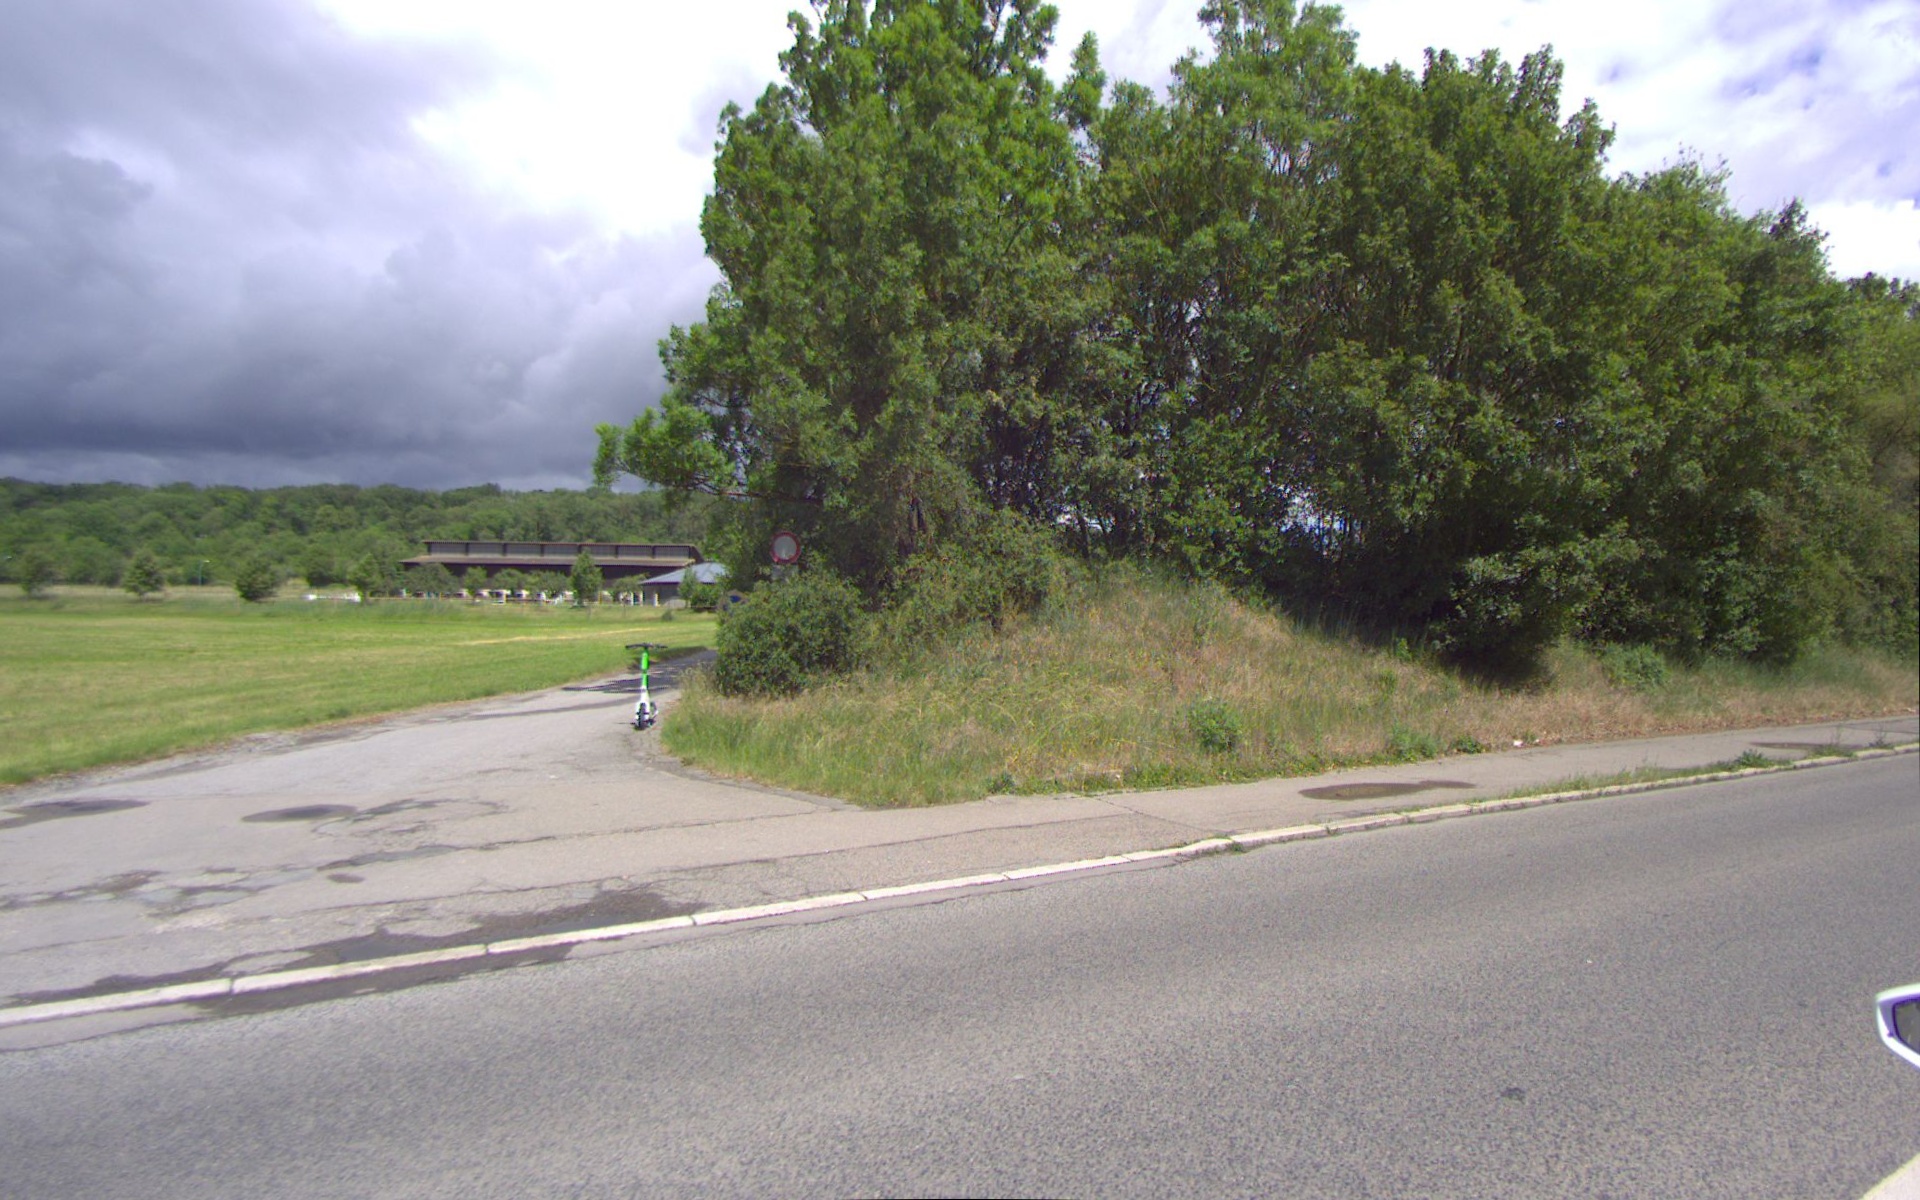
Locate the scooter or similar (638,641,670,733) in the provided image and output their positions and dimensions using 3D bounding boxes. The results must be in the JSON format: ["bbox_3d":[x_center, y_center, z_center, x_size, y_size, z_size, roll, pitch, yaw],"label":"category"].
[{"bbox_3d":[-4.280,1.187,14.053,0.400,1.184,1.243,1,0,-17],"label":"scooter or similar"}]
